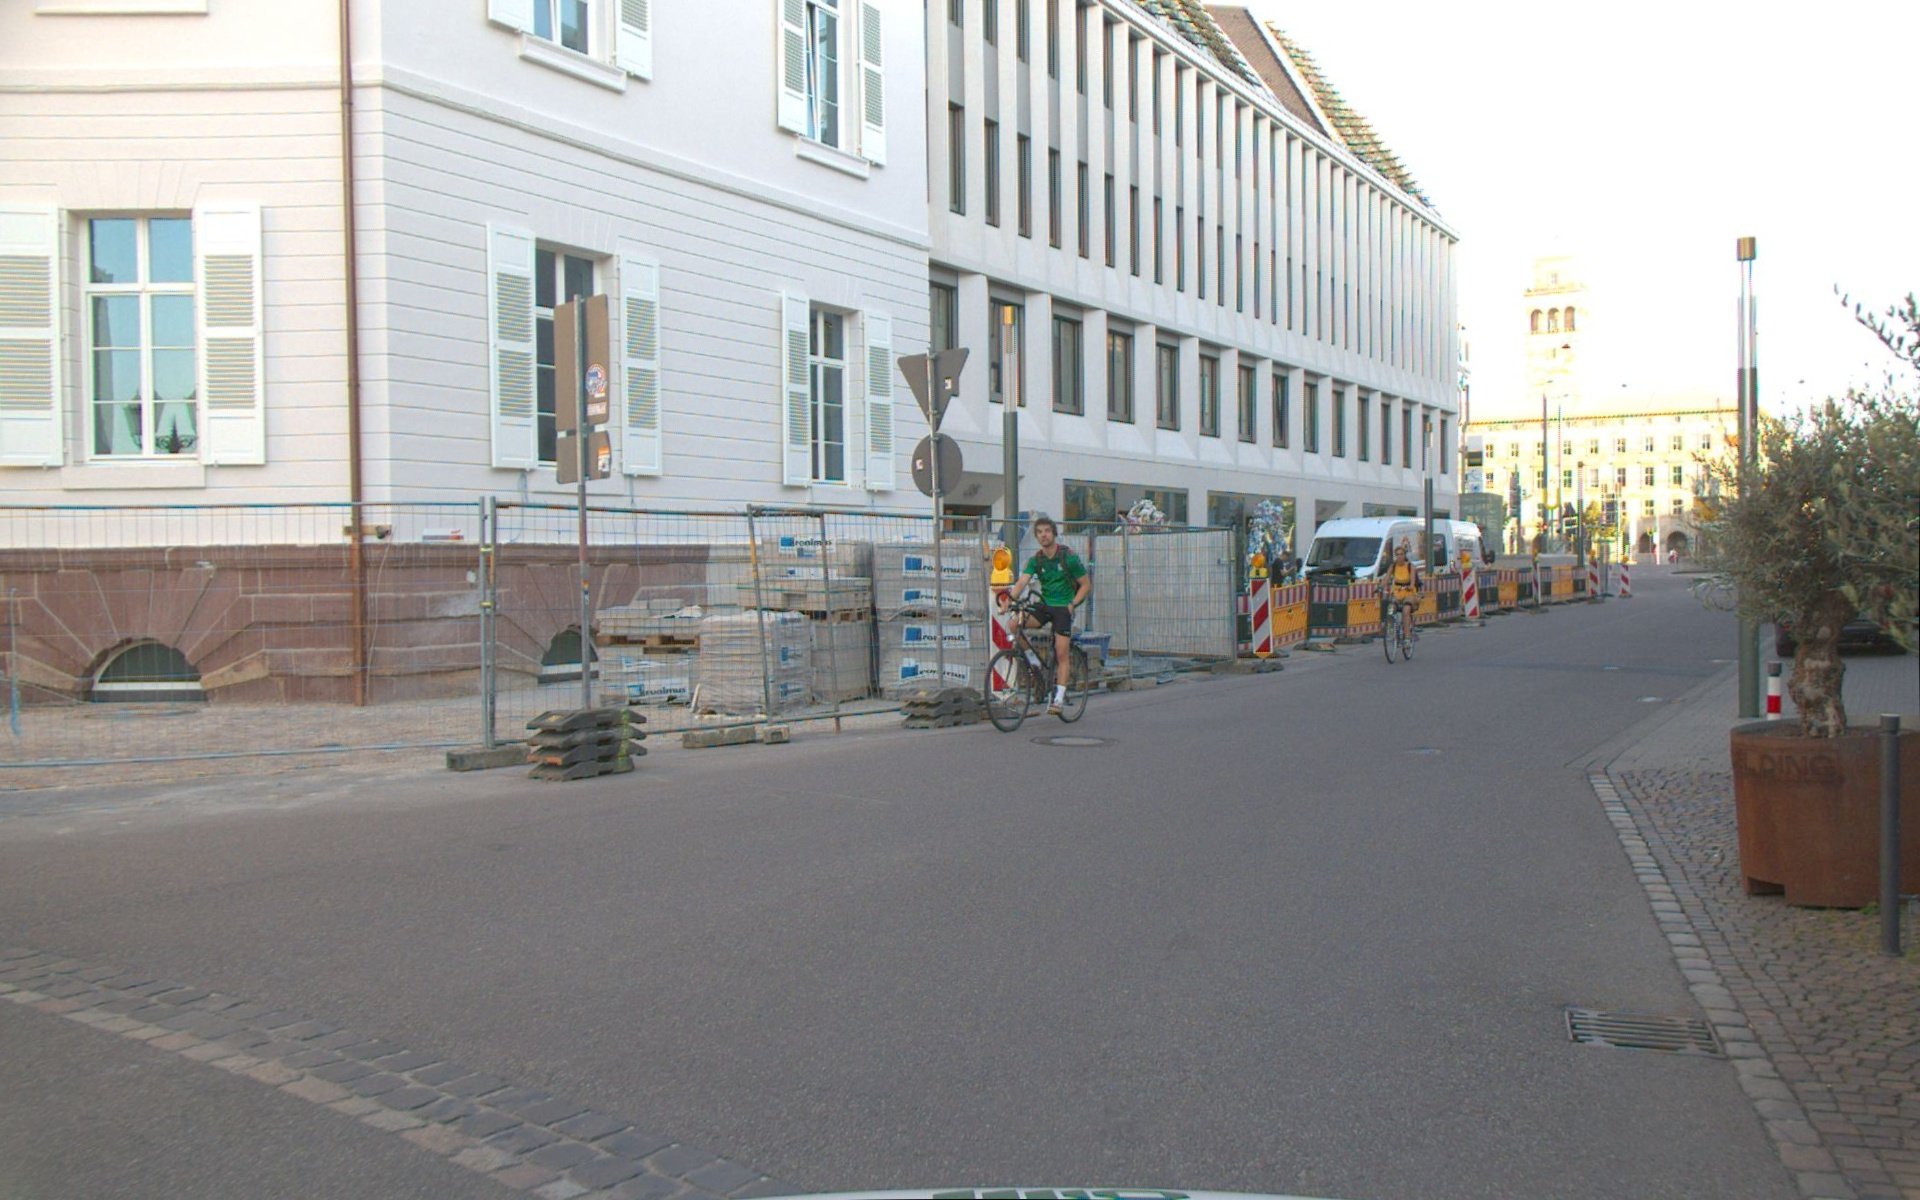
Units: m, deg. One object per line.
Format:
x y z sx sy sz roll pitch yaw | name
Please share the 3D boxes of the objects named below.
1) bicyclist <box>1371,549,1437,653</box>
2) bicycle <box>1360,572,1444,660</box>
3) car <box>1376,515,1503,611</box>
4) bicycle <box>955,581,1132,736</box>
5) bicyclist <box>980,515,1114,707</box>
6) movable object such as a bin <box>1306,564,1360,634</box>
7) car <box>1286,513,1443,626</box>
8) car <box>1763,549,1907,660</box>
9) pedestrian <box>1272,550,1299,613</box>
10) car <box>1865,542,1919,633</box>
6.776 0.001 25.201 0.781 1.559 0.973 0 1 27 | bicyclist
6.748 0.215 25.185 0.781 1.238 2.231 0 2 27 | bicycle
13.619 -1.058 46.678 2.133 2.513 5.989 0 2 30 | car
0.795 0.472 14.788 0.780 1.238 2.232 0 2 25 | bicycle
0.793 0.076 14.784 0.780 1.630 1.230 0 1 26 | bicyclist
8.236 -0.037 36.468 1.021 1.491 1.395 0 1 18 | movable object such as a bin
9.932 -0.771 40.220 2.133 2.513 5.988 0 2 30 | car
13.755 0.033 25.883 1.762 1.516 4.185 -4 0 30 | car
8.292 -0.472 42.138 0.532 1.605 0.578 0 1 28 | pedestrian
18.903 -0.305 32.558 1.735 1.666 4.050 -4 0 30 | car
